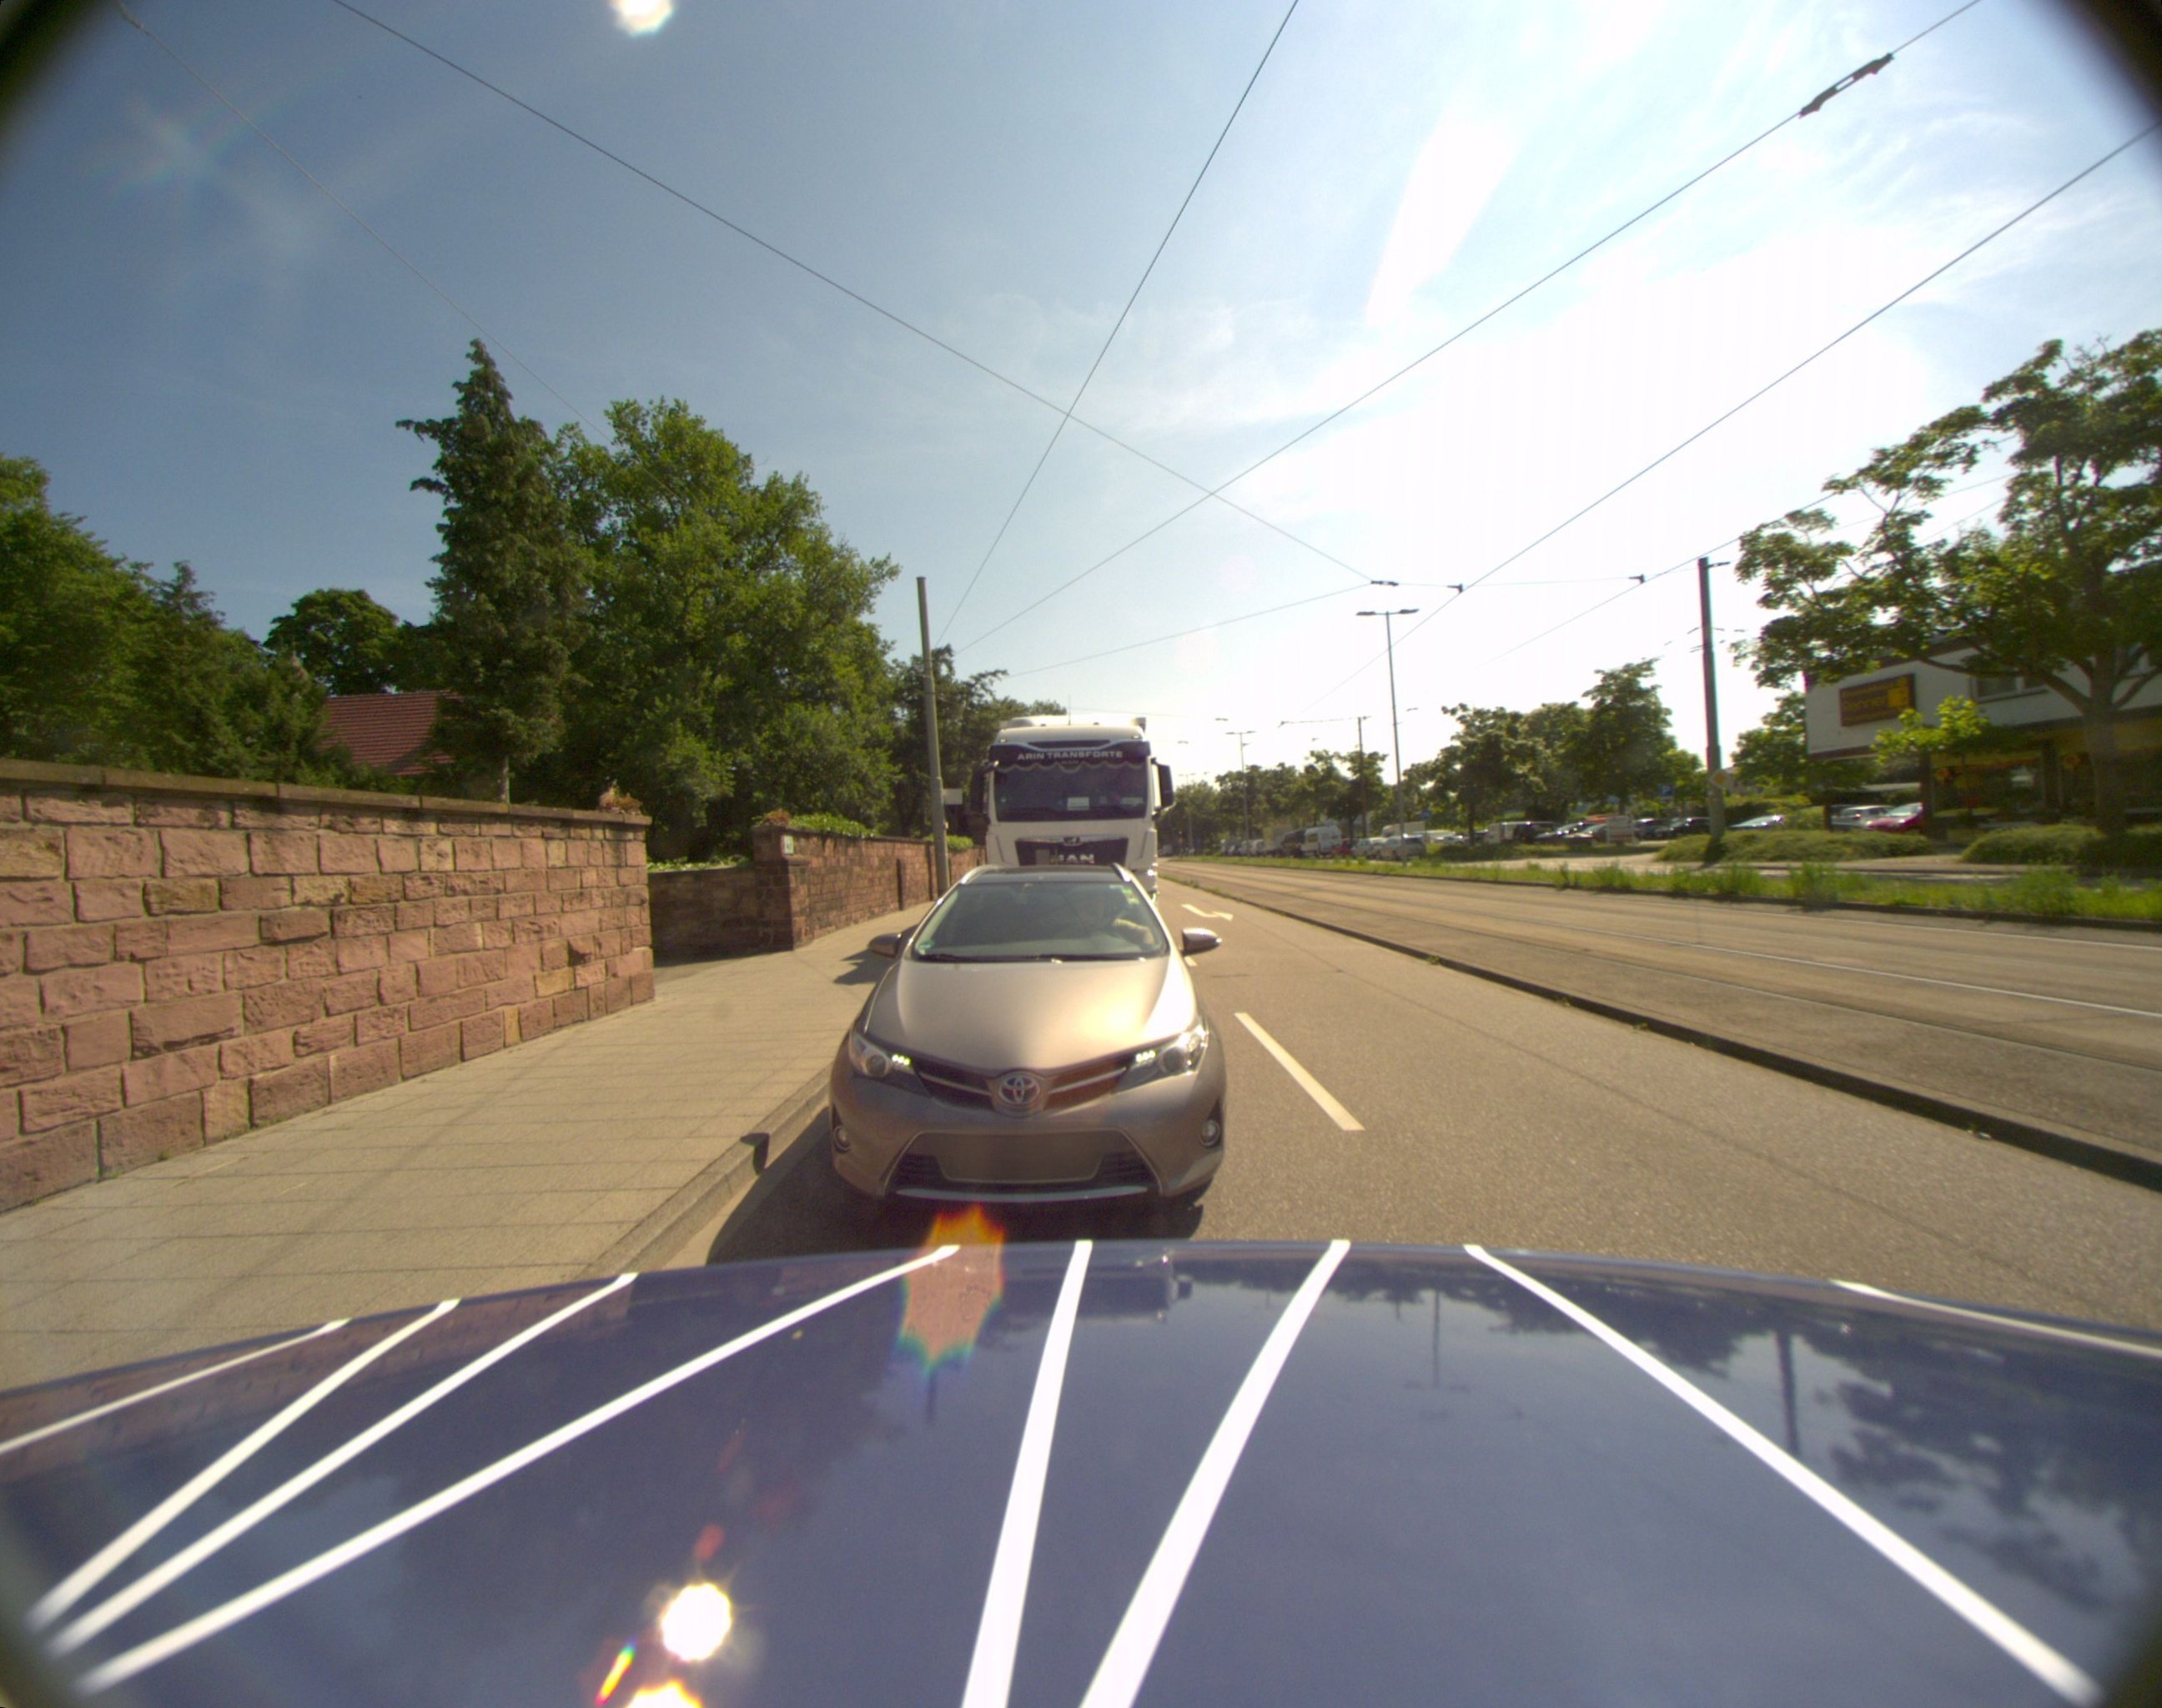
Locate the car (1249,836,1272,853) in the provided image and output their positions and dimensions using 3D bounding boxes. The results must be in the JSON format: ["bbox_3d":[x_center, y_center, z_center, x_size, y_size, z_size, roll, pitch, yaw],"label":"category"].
[{"bbox_3d":[20.678,-1.049,87.677,1.502,1.793,4.633,-6,0,1],"label":"car"}]

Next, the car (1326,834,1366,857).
[{"bbox_3d":[20.469,-0.647,58.754,1.675,1.524,3.793,-6,0,1],"label":"car"}]

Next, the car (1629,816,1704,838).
[{"bbox_3d":[44.180,-2.026,57.381,4.252,1.327,1.676,-3,0,2],"label":"car"}]

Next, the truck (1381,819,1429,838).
[{"bbox_3d":[44.806,-3.512,105.092,5.652,2.367,1.990,-3,1,-2],"label":"truck"}]

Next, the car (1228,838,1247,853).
[{"bbox_3d":[20.608,-1.081,100.071,1.502,1.775,3.687,-6,0,0],"label":"car"}]

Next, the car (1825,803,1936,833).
[{"bbox_3d":[44.276,-2.001,42.150,4.252,1.327,1.676,-3,0,2],"label":"car"}]

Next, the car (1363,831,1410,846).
[{"bbox_3d":[32.304,-1.589,80.397,4.253,1.327,1.676,-3,0,1],"label":"car"}]

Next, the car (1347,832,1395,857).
[{"bbox_3d":[20.438,-0.625,53.657,1.675,1.524,4.256,-6,0,1],"label":"car"}]

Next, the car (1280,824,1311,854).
[{"bbox_3d":[19.798,-1.352,70.351,1.502,2.609,4.007,-6,0,1],"label":"car"}]

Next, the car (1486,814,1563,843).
[{"bbox_3d":[30.685,-1.769,52.669,4.117,1.728,1.990,-3,1,-2],"label":"car"}]

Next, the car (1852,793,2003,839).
[{"bbox_3d":[35.261,-1.548,31.730,4.252,1.595,1.676,-3,1,2],"label":"car"}]

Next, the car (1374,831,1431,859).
[{"bbox_3d":[20.280,-0.533,48.114,1.675,1.524,4.256,-6,0,1],"label":"car"}]

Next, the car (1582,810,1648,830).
[{"bbox_3d":[43.886,-2.805,62.516,4.254,1.327,1.676,-3,0,-1],"label":"car"}]

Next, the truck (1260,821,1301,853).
[{"bbox_3d":[20.600,-1.756,78.737,2.508,2.917,5.903,-6,0,2],"label":"truck"}]

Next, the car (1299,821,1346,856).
[{"bbox_3d":[20.250,-1.277,63.988,2.062,2.638,5.203,-6,0,1],"label":"car"}]

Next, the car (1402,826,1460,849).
[{"bbox_3d":[31.158,-1.398,67.880,2.594,1.800,5.741,-3,0,2],"label":"car"}]

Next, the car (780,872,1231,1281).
[{"bbox_3d":[-0.263,0.892,4.865,1.654,1.374,4.000,-2,0,0],"label":"car"}]

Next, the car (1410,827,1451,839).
[{"bbox_3d":[43.723,-2.618,95.111,4.253,1.327,1.676,-3,0,1],"label":"car"}]

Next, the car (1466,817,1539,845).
[{"bbox_3d":[30.525,-1.682,55.139,4.117,1.728,1.990,-3,1,-2],"label":"car"}]

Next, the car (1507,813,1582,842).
[{"bbox_3d":[30.572,-1.715,50.201,3.810,1.625,1.676,-3,1,2],"label":"car"}]

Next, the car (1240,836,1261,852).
[{"bbox_3d":[20.946,-1.201,94.218,1.502,1.835,4.059,-6,0,0],"label":"car"}]

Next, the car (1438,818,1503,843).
[{"bbox_3d":[31.223,-1.845,60.978,4.117,1.728,1.990,-3,1,-2],"label":"car"}]

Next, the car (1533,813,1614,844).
[{"bbox_3d":[30.508,-1.567,47.116,3.810,1.625,1.676,-3,1,2],"label":"car"}]

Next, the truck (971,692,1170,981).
[{"bbox_3d":[-0.049,-0.287,15.129,2.628,3.906,9.285,-2,1,1],"label":"truck"}]

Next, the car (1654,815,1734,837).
[{"bbox_3d":[44.052,-1.991,54.662,4.252,1.327,1.676,-3,0,2],"label":"car"}]
